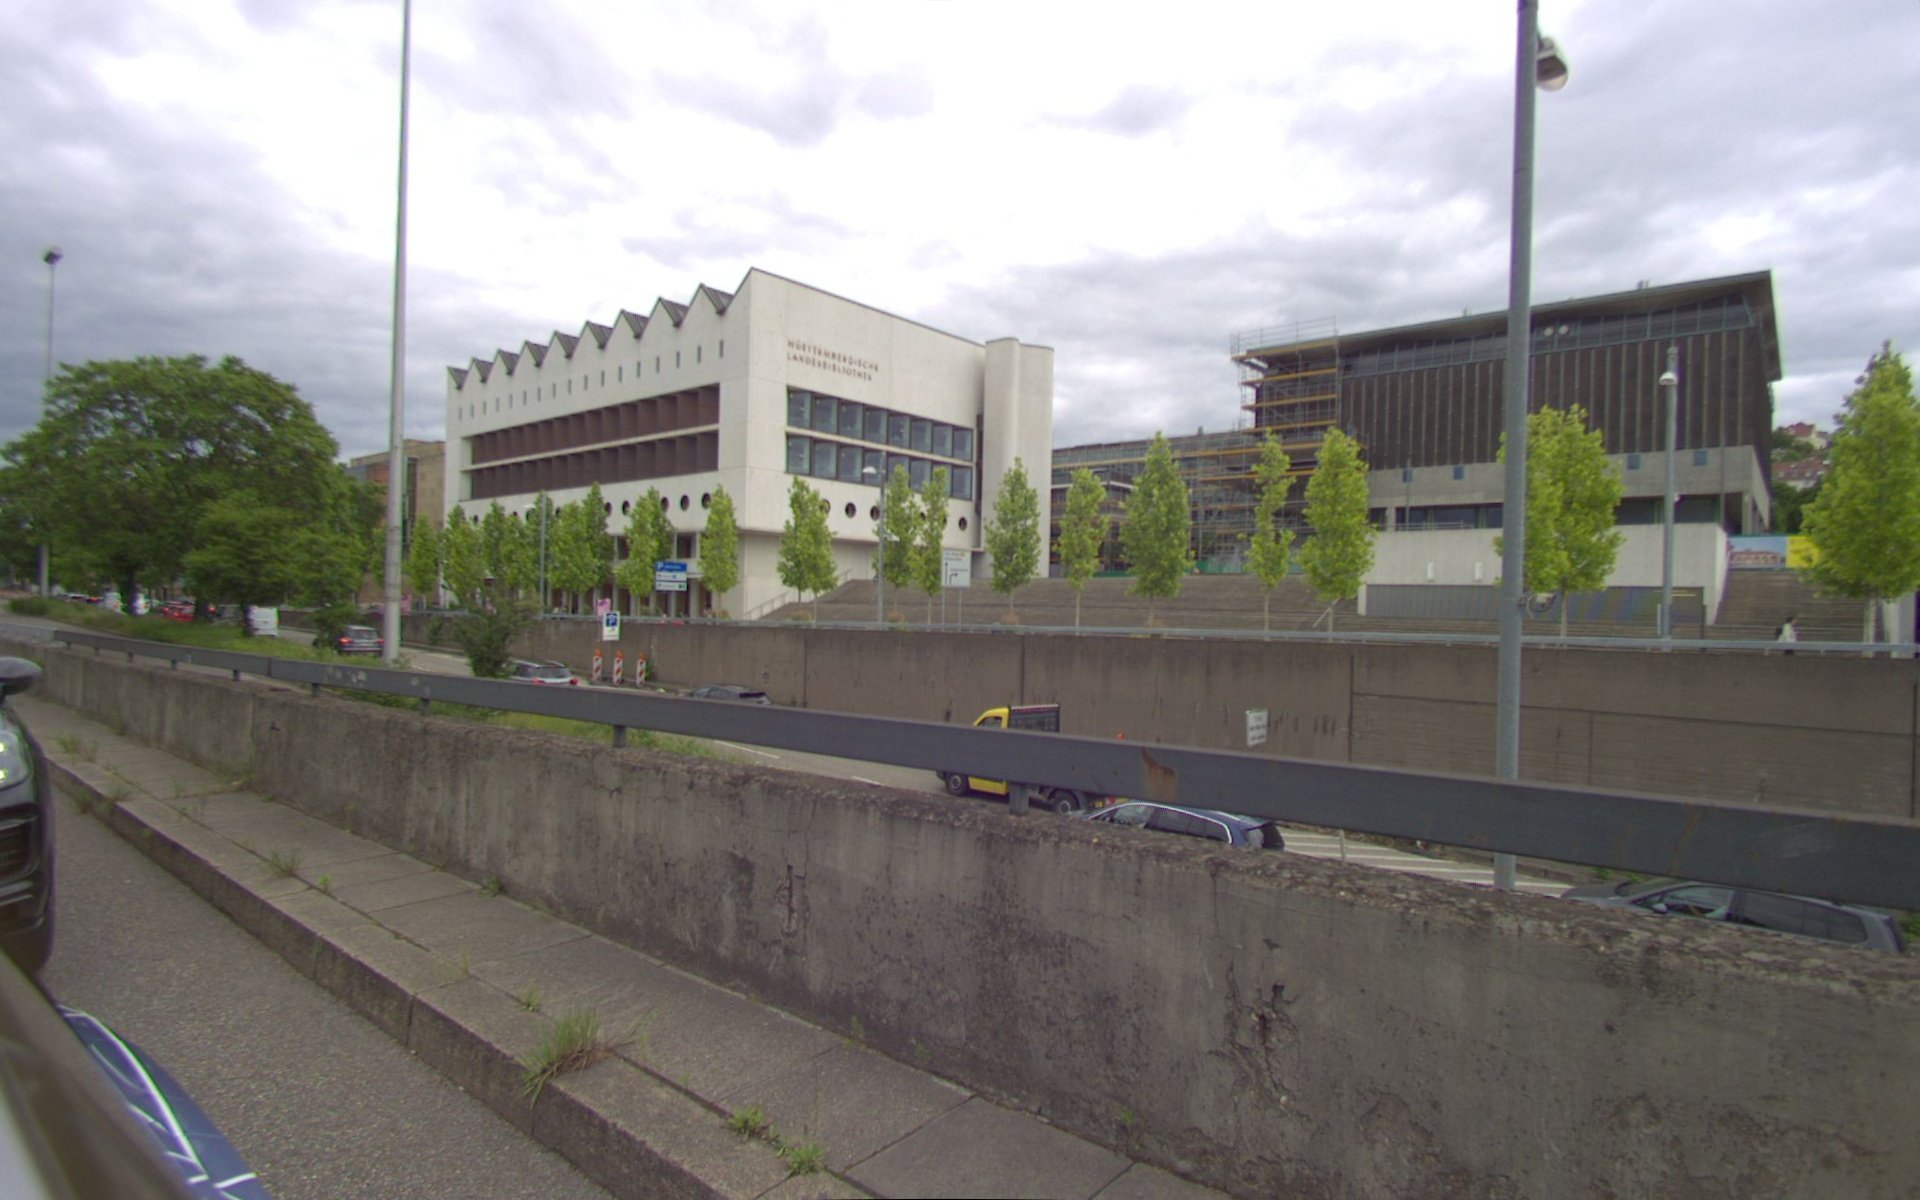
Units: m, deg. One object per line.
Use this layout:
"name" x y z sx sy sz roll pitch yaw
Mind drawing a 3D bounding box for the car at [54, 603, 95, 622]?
"car" -74.245 1.042 84.808 3.998 1.409 1.973 0 -4 41

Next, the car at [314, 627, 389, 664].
"car" -28.114 2.064 46.735 3.999 1.560 1.855 0 -1 42

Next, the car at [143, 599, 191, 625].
"car" -61.105 0.913 77.992 4.385 1.624 1.852 4 0 38

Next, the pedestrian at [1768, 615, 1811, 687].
"pedestrian" 23.792 1.451 29.015 0.729 2.029 0.794 1 -3 -43

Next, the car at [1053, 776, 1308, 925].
"car" 3.883 4.359 18.224 4.167 1.582 1.792 1 2 41

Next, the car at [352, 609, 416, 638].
"car" -38.368 1.560 67.399 4.732 1.869 2.152 -1 -2 40

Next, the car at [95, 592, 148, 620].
"car" -60.961 0.435 73.525 5.247 1.651 1.973 2 -5 41

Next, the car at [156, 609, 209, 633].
"car" -49.617 1.358 64.561 3.999 1.497 1.972 -1 -2 42

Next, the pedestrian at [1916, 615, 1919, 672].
"pedestrian" 28.452 1.253 29.483 0.793 1.655 0.730 -3 -3 44

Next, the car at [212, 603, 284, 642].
"car" -39.450 1.229 56.042 5.115 2.029 2.194 -1 -2 42

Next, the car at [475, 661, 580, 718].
"car" -14.877 3.032 34.733 3.904 1.553 1.696 1 2 39

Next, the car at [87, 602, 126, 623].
"car" -75.929 1.116 90.047 3.998 1.776 1.973 0 -3 41

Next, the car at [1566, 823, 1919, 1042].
"car" 11.907 4.825 15.249 4.393 1.780 2.140 4 0 41

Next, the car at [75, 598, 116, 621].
"car" -69.314 0.754 81.132 4.144 1.500 1.757 3 0 40

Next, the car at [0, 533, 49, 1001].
"car" -5.555 0.565 4.503 4.733 1.602 1.879 0 0 44

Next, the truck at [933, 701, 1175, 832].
"truck" 2.093 3.756 23.797 5.374 2.419 2.160 -2 -2 40

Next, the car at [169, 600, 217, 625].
"car" -55.913 0.907 73.771 4.141 1.500 1.758 3 0 38
